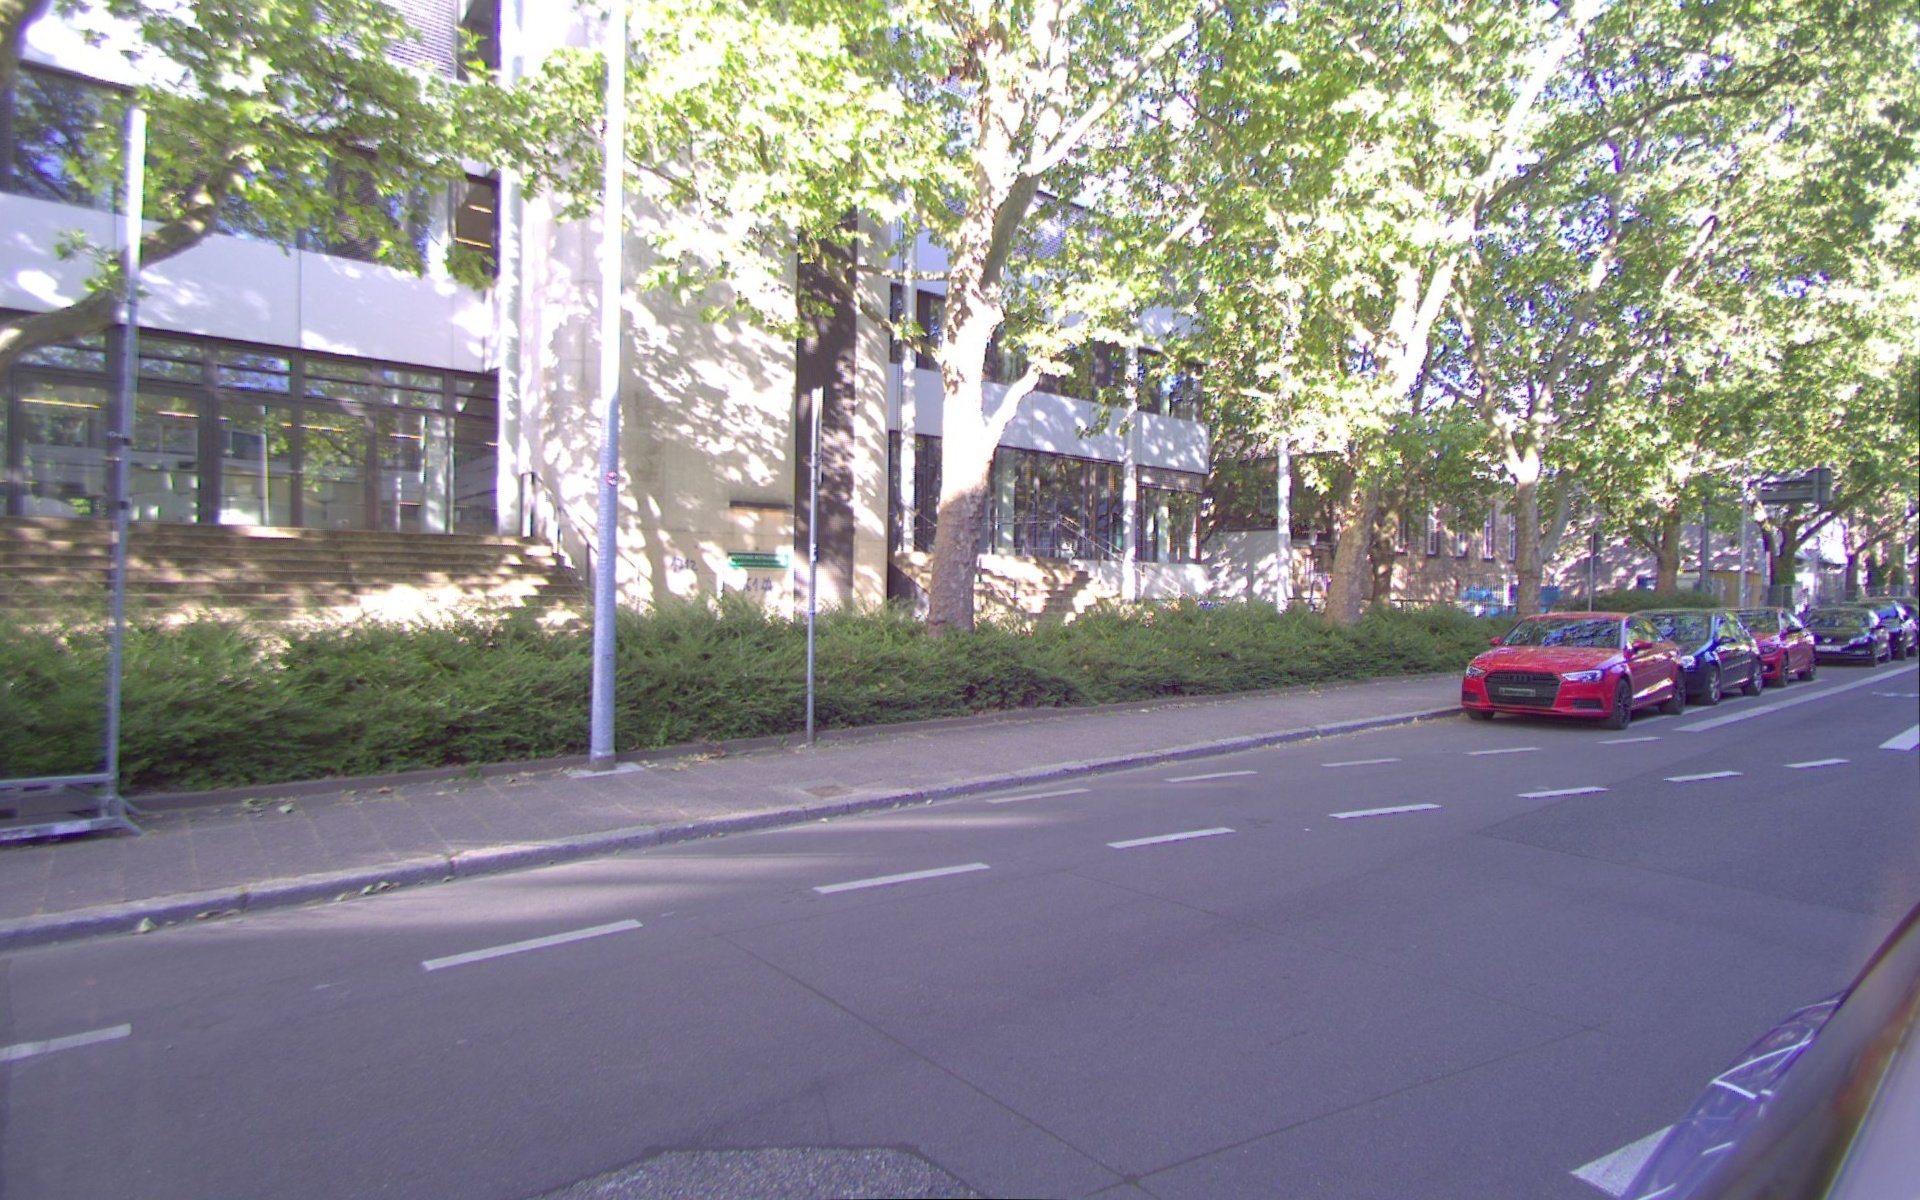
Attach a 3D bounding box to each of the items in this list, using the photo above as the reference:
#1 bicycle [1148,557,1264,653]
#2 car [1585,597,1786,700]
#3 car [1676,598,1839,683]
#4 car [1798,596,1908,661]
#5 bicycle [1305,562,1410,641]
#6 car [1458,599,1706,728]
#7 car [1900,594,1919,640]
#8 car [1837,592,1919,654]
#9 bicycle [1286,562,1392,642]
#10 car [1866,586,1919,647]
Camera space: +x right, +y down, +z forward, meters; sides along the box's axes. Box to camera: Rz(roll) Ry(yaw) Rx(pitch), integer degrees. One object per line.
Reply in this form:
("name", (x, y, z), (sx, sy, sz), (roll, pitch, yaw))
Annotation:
("bicycle", (5.515, 0.083, 22.862), (0.729, 2.039, 2.603), (0, 1, -40))
("car", (11.996, 0.719, 16.657), (3.992, 1.485, 1.696), (0, -1, -39))
("car", (15.805, 0.728, 19.982), (4.242, 1.498, 1.696), (0, -1, -40))
("car", (22.986, 0.691, 26.011), (3.952, 1.523, 1.694), (0, -1, -43))
("bicycle", (10.755, 0.015, 27.472), (0.729, 2.039, 2.603), (0, 1, -40))
("car", (8.464, 0.732, 13.607), (4.360, 1.468, 1.694), (0, -1, -43))
("car", (36.073, 0.587, 37.323), (4.256, 1.648, 1.694), (0, -1, -43))
("car", (26.840, 0.621, 29.178), (4.541, 1.648, 1.778), (0, -1, -42))
("bicycle", (10.042, 0.024, 26.902), (0.729, 2.039, 2.603), (0, 1, -40))
("car", (30.917, 0.513, 33.085), (1.823, 1.865, 4.826), (-2, -1, 41))
